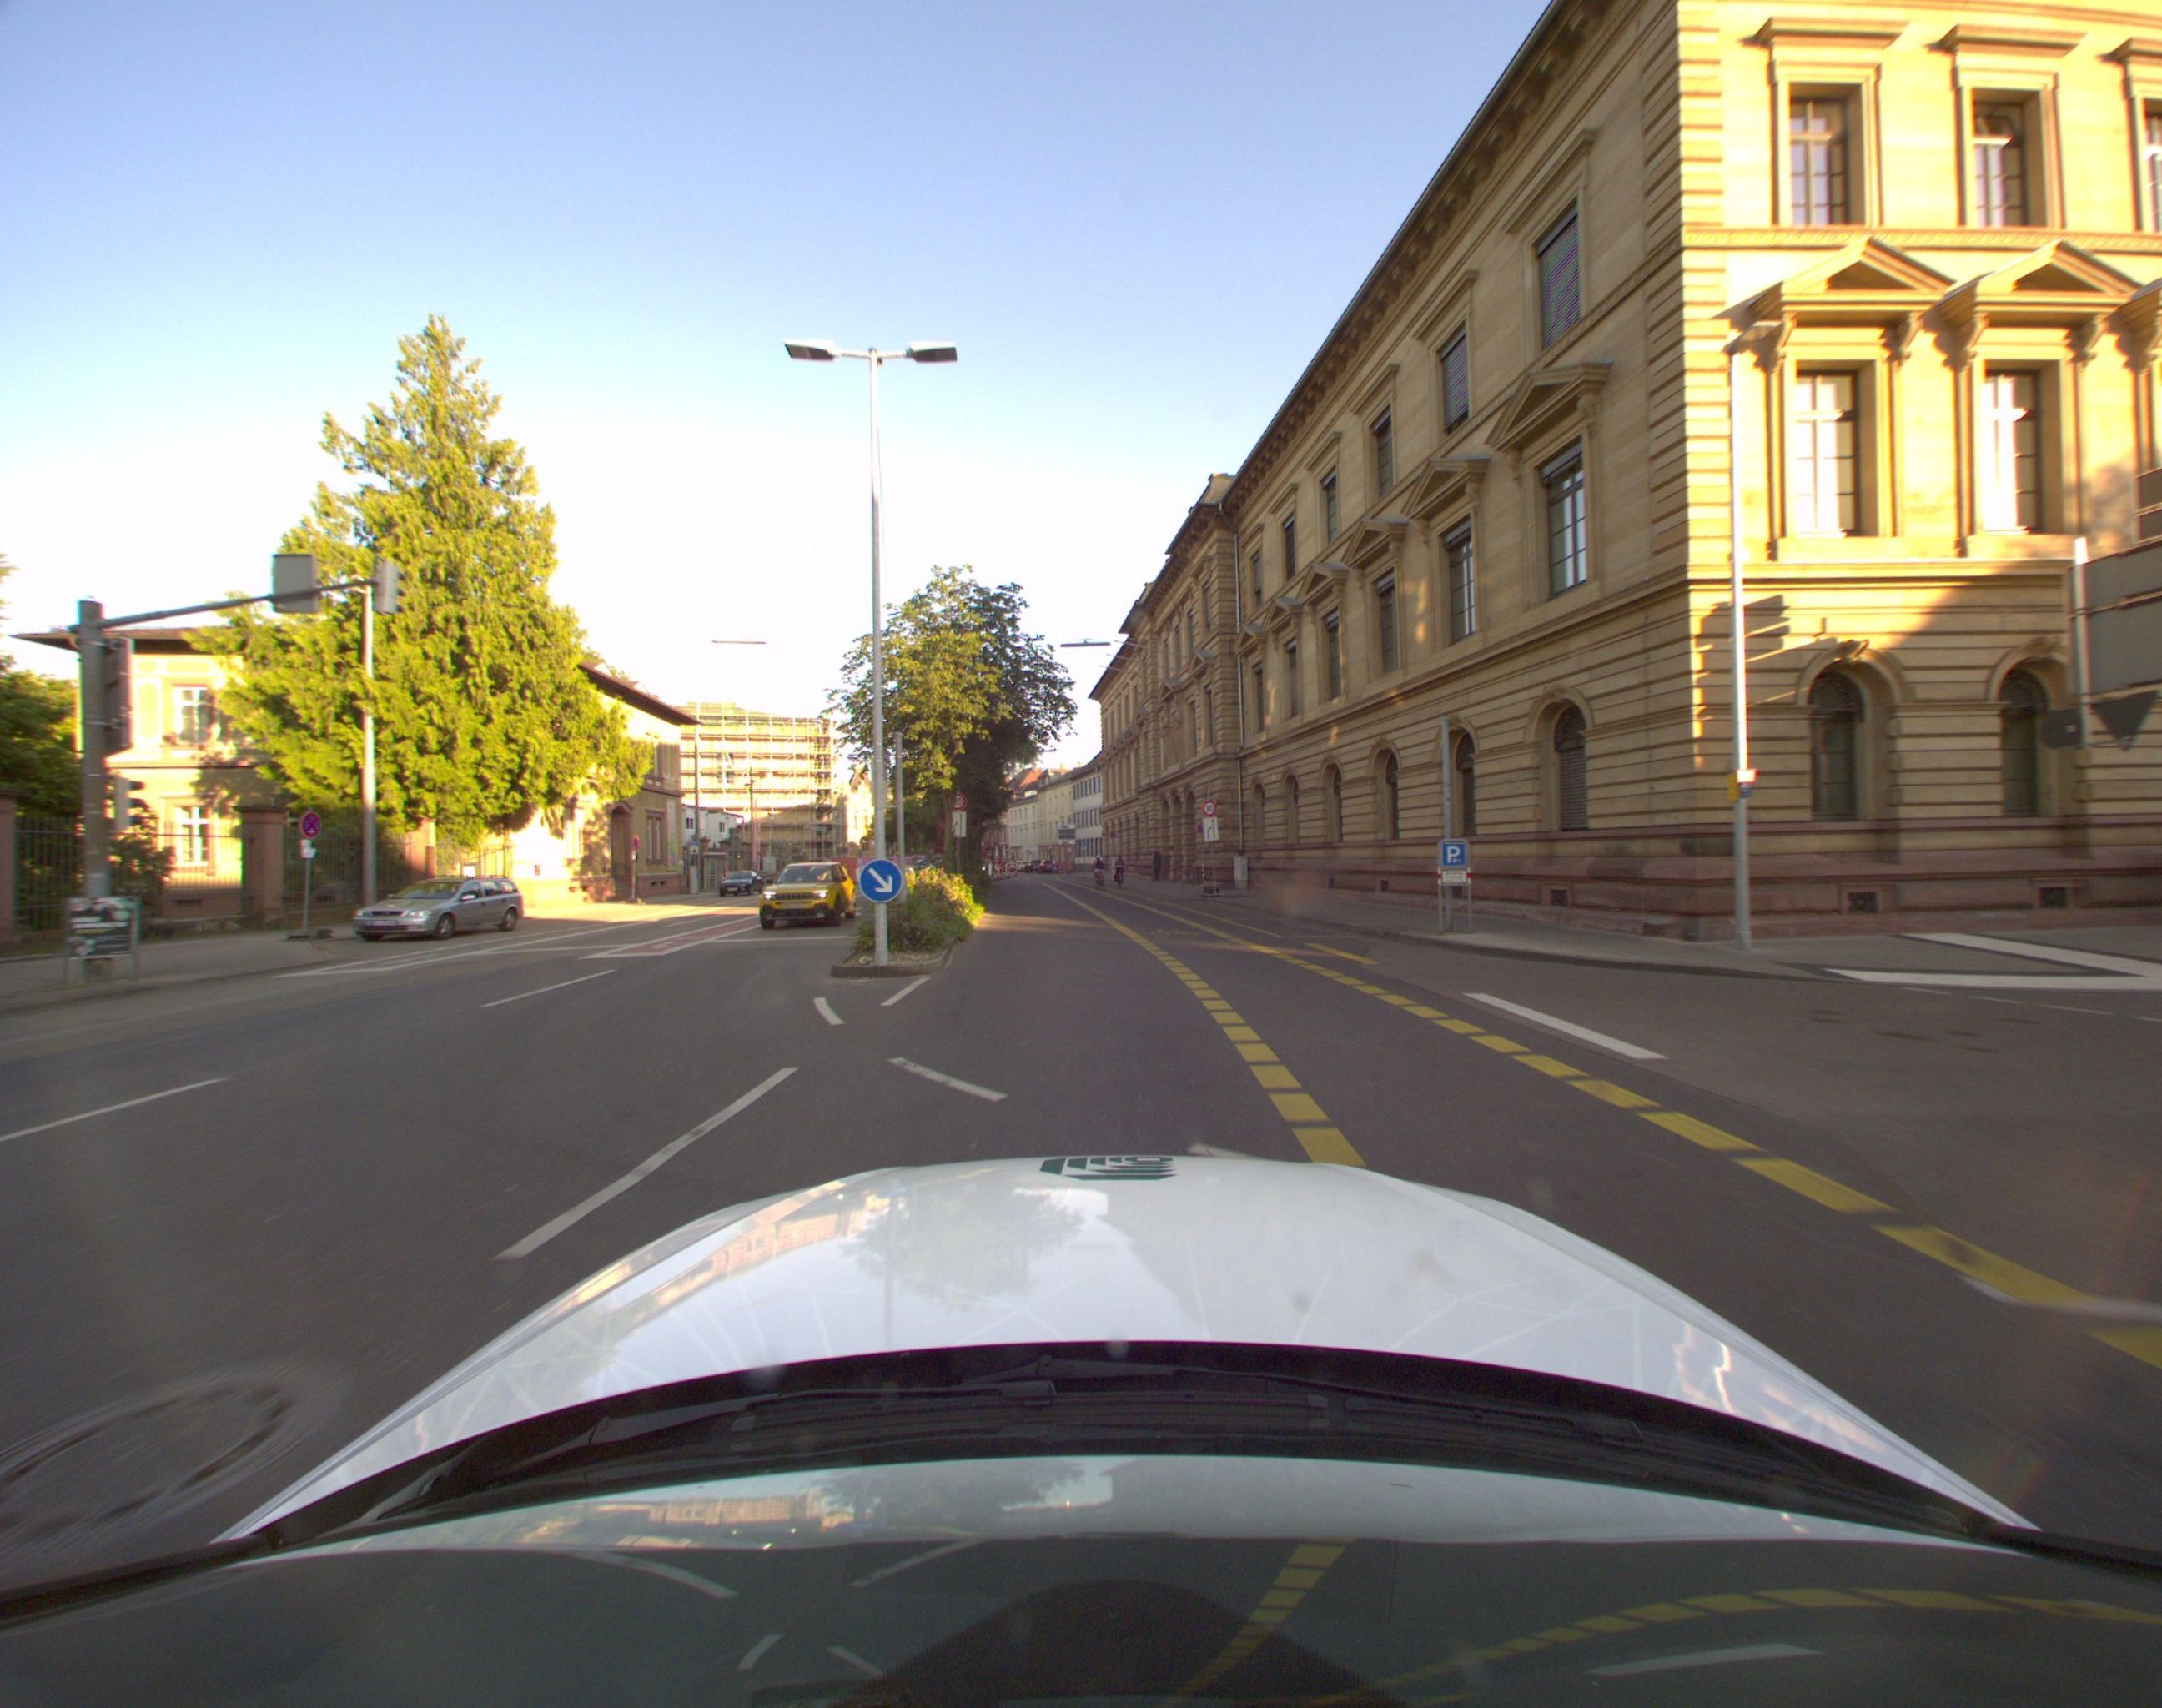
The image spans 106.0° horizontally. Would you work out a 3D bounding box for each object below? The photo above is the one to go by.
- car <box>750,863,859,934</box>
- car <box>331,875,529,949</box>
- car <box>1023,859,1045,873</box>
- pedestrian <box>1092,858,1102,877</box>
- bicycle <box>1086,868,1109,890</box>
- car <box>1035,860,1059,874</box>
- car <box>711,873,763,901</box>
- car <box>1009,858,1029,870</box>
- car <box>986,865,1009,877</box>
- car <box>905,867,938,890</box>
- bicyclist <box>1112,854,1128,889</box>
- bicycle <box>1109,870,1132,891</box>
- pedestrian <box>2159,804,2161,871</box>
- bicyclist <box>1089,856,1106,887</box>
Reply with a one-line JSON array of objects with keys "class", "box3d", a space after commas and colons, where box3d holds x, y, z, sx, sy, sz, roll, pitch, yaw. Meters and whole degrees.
[{"class": "car", "box3d": [-6.826, 1.019, 20.523, 1.844, 1.547, 4.106, -2, 0, -8]}, {"class": "car", "box3d": [-15.921, 1.344, 20.277, 1.742, 1.547, 4.360, 0, -1, -6]}, {"class": "car", "box3d": [-6.010, 1.493, 103.807, 1.817, 1.684, 3.976, -1, -1, -17]}, {"class": "pedestrian", "box3d": [1.425, 1.218, 73.576, 0.815, 1.765, 1.037, 0, -1, -2]}, {"class": "bicycle", "box3d": [0.807, 1.263, 40.900, 0.670, 1.071, 1.892, 1, -1, -14]}, {"class": "car", "box3d": [-4.043, 1.538, 96.032, 1.817, 1.682, 3.896, -1, -1, -17]}, {"class": "car", "box3d": [-18.924, 1.784, 44.945, 1.679, 1.351, 3.874, -3, 0, -9]}, {"class": "car", "box3d": [-8.463, 1.422, 111.479, 1.818, 1.560, 3.840, -1, -1, -19]}, {"class": "car", "box3d": [-11.268, 2.341, 109.887, 1.823, 1.560, 3.829, 0, -1, -29]}, {"class": "car", "box3d": [-12.879, 1.962, 66.107, 1.837, 1.674, 4.553, -3, 0, -1]}, {"class": "bicyclist", "box3d": [2.020, 0.900, 42.288, 0.650, 1.760, 0.861, 1, -1, -11]}, {"class": "bicycle", "box3d": [2.046, 1.357, 42.093, 0.653, 1.071, 2.249, 1, -1, -11]}, {"class": "pedestrian", "box3d": [16.845, 0.151, 12.416, 0.452, 1.858, 0.422, -1, -1, -40]}, {"class": "bicyclist", "box3d": [0.821, 0.877, 40.822, 0.669, 1.566, 0.695, 1, -2, -14]}]
